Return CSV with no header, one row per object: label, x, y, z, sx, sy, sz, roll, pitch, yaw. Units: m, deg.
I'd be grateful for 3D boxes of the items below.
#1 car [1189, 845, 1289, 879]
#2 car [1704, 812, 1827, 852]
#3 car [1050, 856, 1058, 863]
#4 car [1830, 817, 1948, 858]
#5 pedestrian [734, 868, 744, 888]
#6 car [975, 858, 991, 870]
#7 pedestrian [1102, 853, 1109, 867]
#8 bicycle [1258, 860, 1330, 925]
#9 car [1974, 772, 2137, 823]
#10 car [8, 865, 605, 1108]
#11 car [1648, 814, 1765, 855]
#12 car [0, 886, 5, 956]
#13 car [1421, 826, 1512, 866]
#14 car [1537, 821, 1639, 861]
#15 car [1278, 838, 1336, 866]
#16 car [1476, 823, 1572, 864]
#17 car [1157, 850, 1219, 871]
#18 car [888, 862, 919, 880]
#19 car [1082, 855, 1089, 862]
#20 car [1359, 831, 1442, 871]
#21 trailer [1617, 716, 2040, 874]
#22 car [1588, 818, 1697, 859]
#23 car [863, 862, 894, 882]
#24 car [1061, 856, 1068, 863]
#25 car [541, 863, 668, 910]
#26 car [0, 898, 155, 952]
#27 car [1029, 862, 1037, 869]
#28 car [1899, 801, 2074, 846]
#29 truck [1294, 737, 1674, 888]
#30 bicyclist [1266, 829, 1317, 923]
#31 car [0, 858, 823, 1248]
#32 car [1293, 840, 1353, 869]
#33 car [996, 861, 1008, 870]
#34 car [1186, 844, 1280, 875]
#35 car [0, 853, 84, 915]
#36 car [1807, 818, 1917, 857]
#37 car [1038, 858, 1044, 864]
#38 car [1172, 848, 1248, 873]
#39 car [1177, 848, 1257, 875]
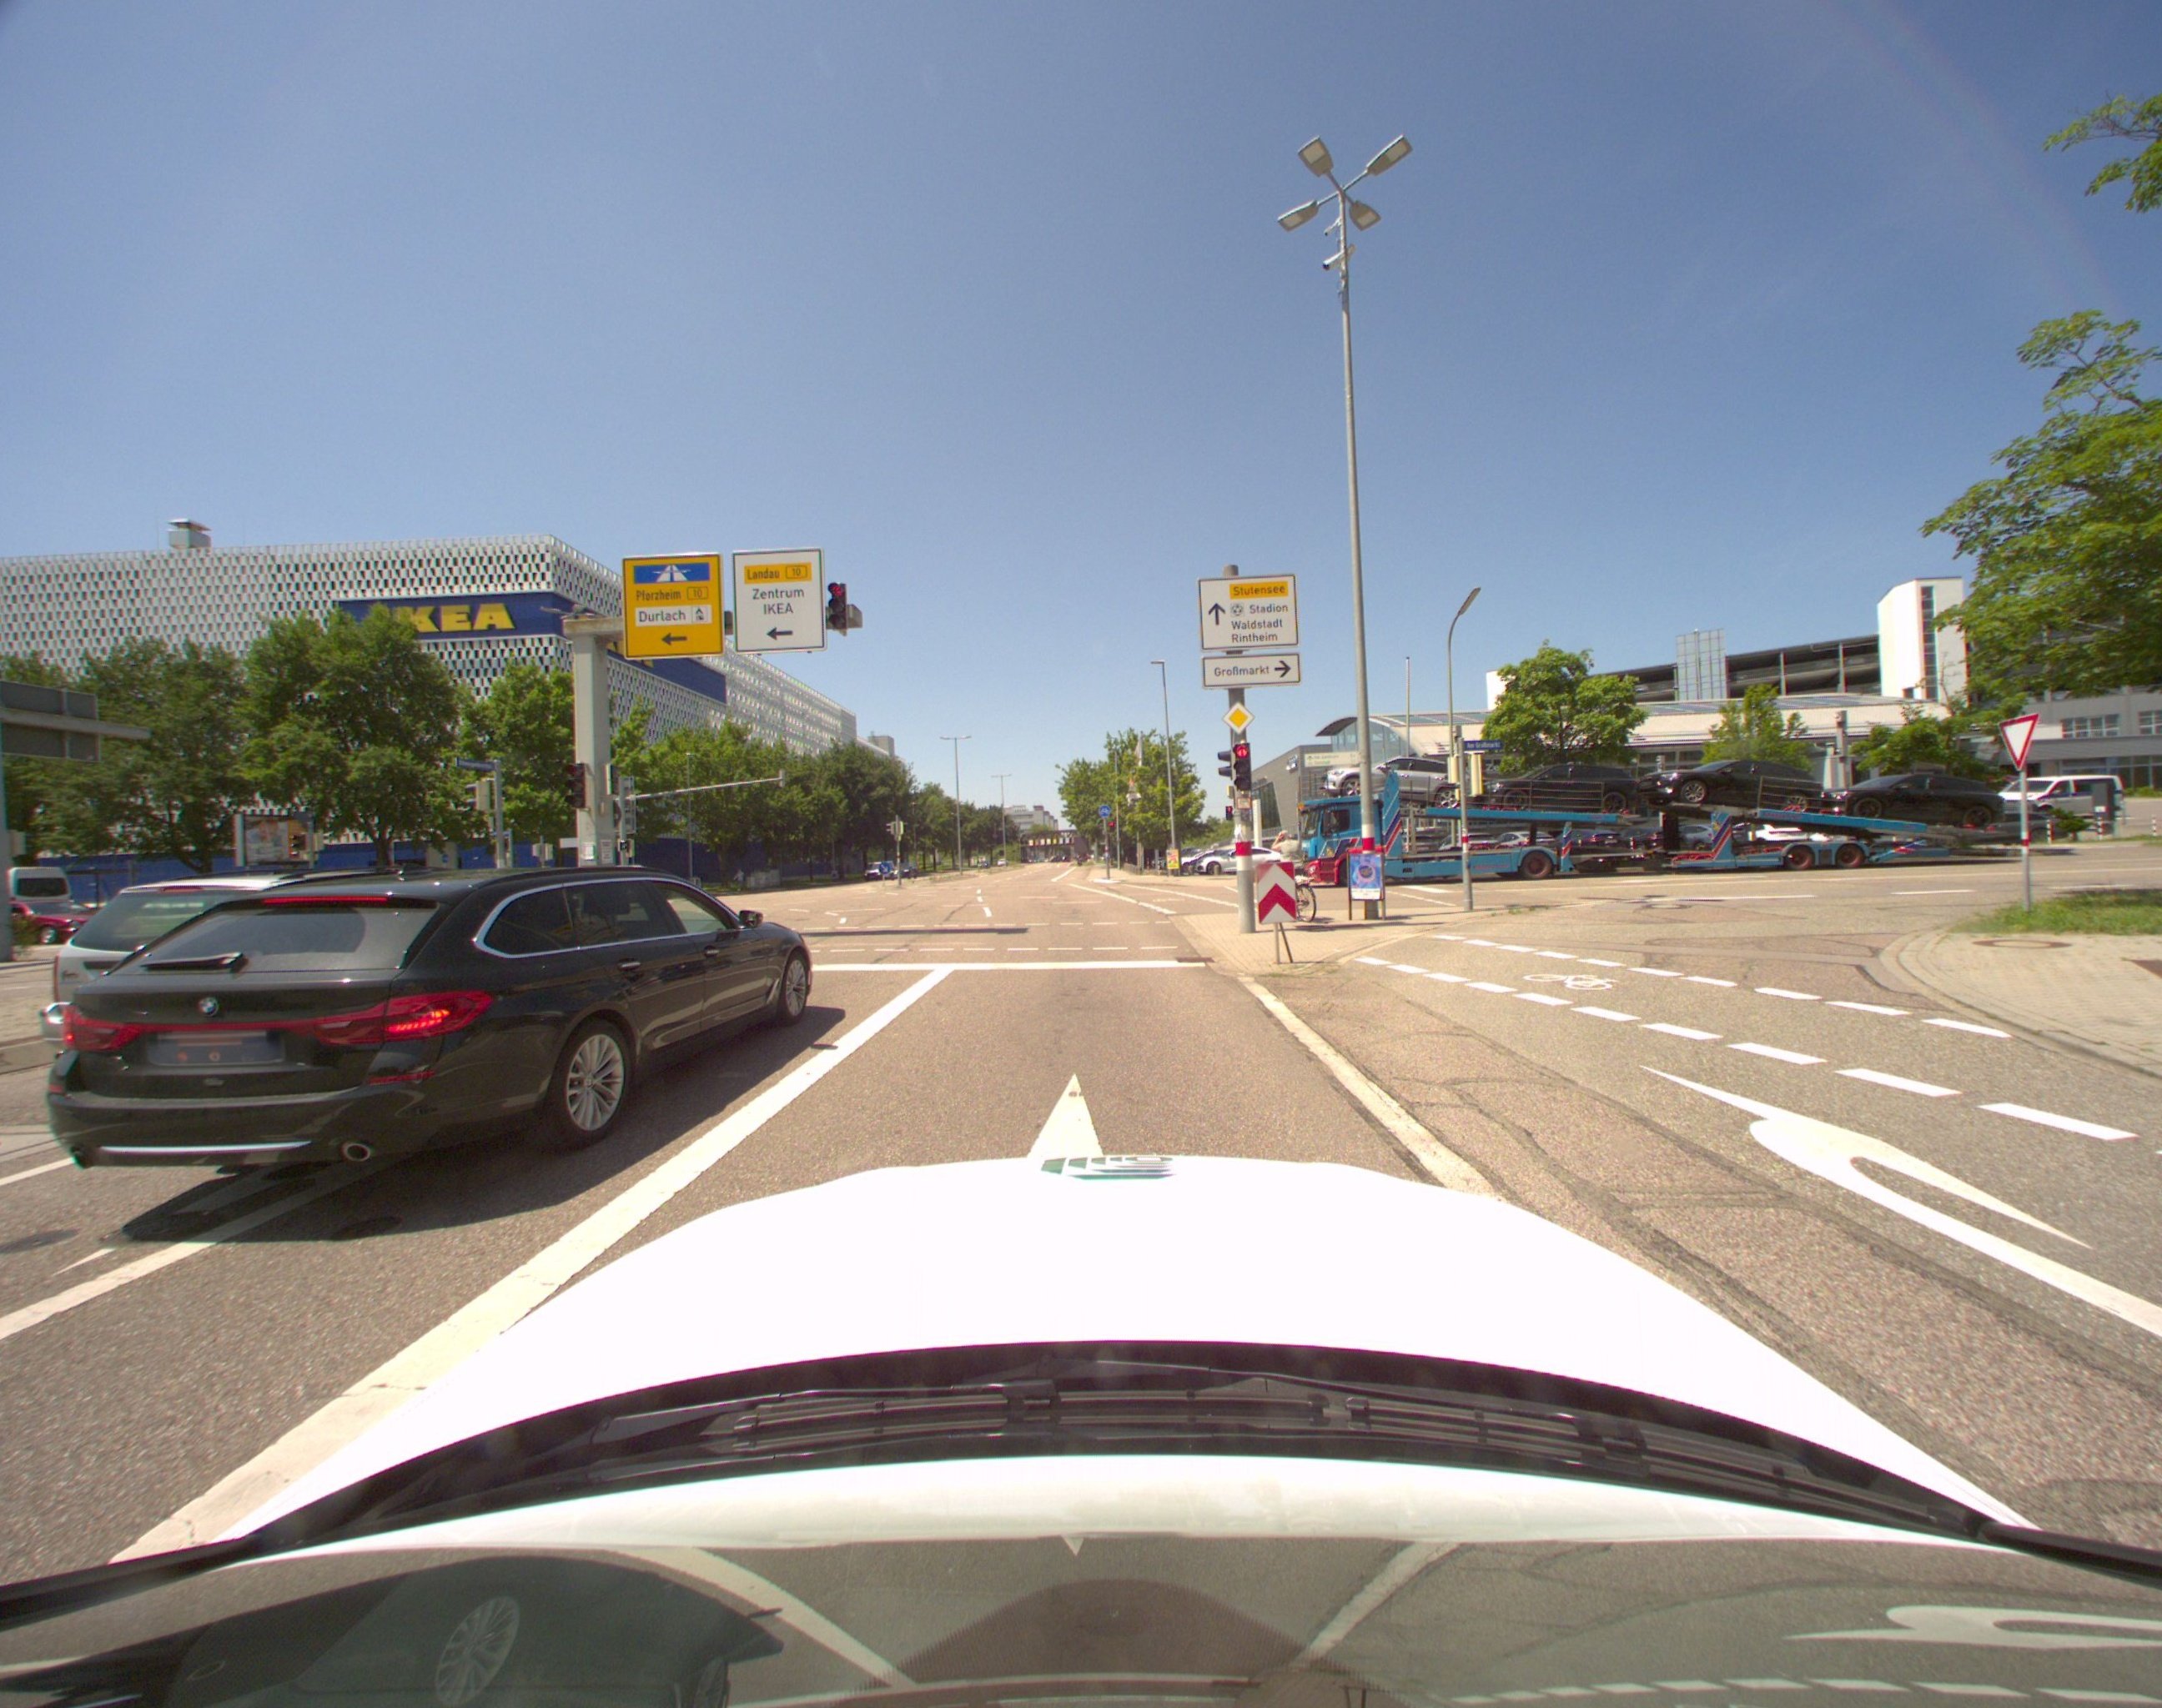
car,7.917,0.377,41.191,4.722,1.457,2.001,-2,0,2
car,30.915,-0.955,36.999,1.821,1.639,4.475,-3,1,1
car,-7.395,1.525,224.674,1.766,1.728,4.000,-3,-1,1
car,38.931,-0.778,39.359,3.665,1.777,1.759,-3,0,27
pedestrian,-26.188,1.858,62.362,0.460,1.482,0.484,-3,-1,4
car,-17.069,1.781,141.723,1.984,2.014,4.004,-2,-2,4
pedestrian,2.792,0.642,92.115,0.665,1.510,0.736,-3,0,0
bicycle,4.087,0.703,15.790,0.785,1.127,1.919,-2,1,-3
car,45.193,-2.588,37.857,5.110,2.013,2.000,-3,0,1
car,-6.298,0.895,7.426,1.795,1.494,3.993,-2,0,-5
car,28.182,-0.850,36.893,1.821,1.639,4.475,-3,1,1
car,-34.297,1.340,22.210,6.877,3.485,2.184,-2,1,1
car,17.419,-0.366,37.050,1.987,1.639,4.441,-3,1,1
car,22.886,-0.575,36.965,1.821,1.639,4.475,-3,1,1
car,17.853,-0.152,64.504,3.972,2.013,2.001,-3,0,1
car,19.976,-0.475,36.931,1.879,1.639,4.525,-3,1,1
car,8.759,0.512,66.936,4.728,1.457,1.999,-3,0,-1
car,-17.016,1.631,78.354,1.868,1.598,4.496,-3,0,1
car,1.261,1.239,227.459,1.766,1.728,4.000,-3,-1,1
car,14.406,-0.159,37.004,1.987,1.639,4.558,-3,1,1
trailer,22.636,-1.688,25.261,9.558,4.081,3.102,-3,1,7
car,25.290,-0.678,36.894,1.822,1.639,4.473,-2,1,0
car,-21.542,1.919,86.841,1.986,2.007,4.765,-3,-1,1
car,-4.504,1.562,228.446,1.766,1.728,4.000,-3,-1,1
car,-18.723,1.271,32.068,4.168,1.652,1.720,-2,0,11
car,-31.533,2.197,24.962,4.266,1.342,1.777,-3,1,2
car,-12.045,2.861,204.520,1.726,1.427,3.706,-4,-1,1
car,39.298,-1.293,35.511,4.706,1.639,1.844,-3,0,23
truck,12.606,-1.245,26.524,10.558,4.082,3.108,-3,1,7
bicyclist,4.055,0.405,15.711,0.732,1.749,0.753,-1,0,-4
car,-3.421,0.803,5.573,1.794,1.466,4.622,-1,0,0
car,18.504,0.012,62.316,3.972,2.013,2.001,-3,0,1
car,-16.265,2.366,167.821,1.918,1.665,4.092,-3,-1,3
car,8.148,0.304,43.899,4.722,1.457,2.001,-2,-1,2
car,-46.747,1.323,35.102,5.463,2.567,2.003,-2,0,5
car,40.090,-0.822,41.922,3.721,1.772,1.781,-3,0,31
car,-12.200,2.225,248.987,1.644,1.653,4.161,-3,0,-2
car,8.578,0.420,54.560,4.728,1.457,1.999,-3,0,-1
car,8.609,0.466,51.826,4.728,1.457,1.999,-3,0,-1
